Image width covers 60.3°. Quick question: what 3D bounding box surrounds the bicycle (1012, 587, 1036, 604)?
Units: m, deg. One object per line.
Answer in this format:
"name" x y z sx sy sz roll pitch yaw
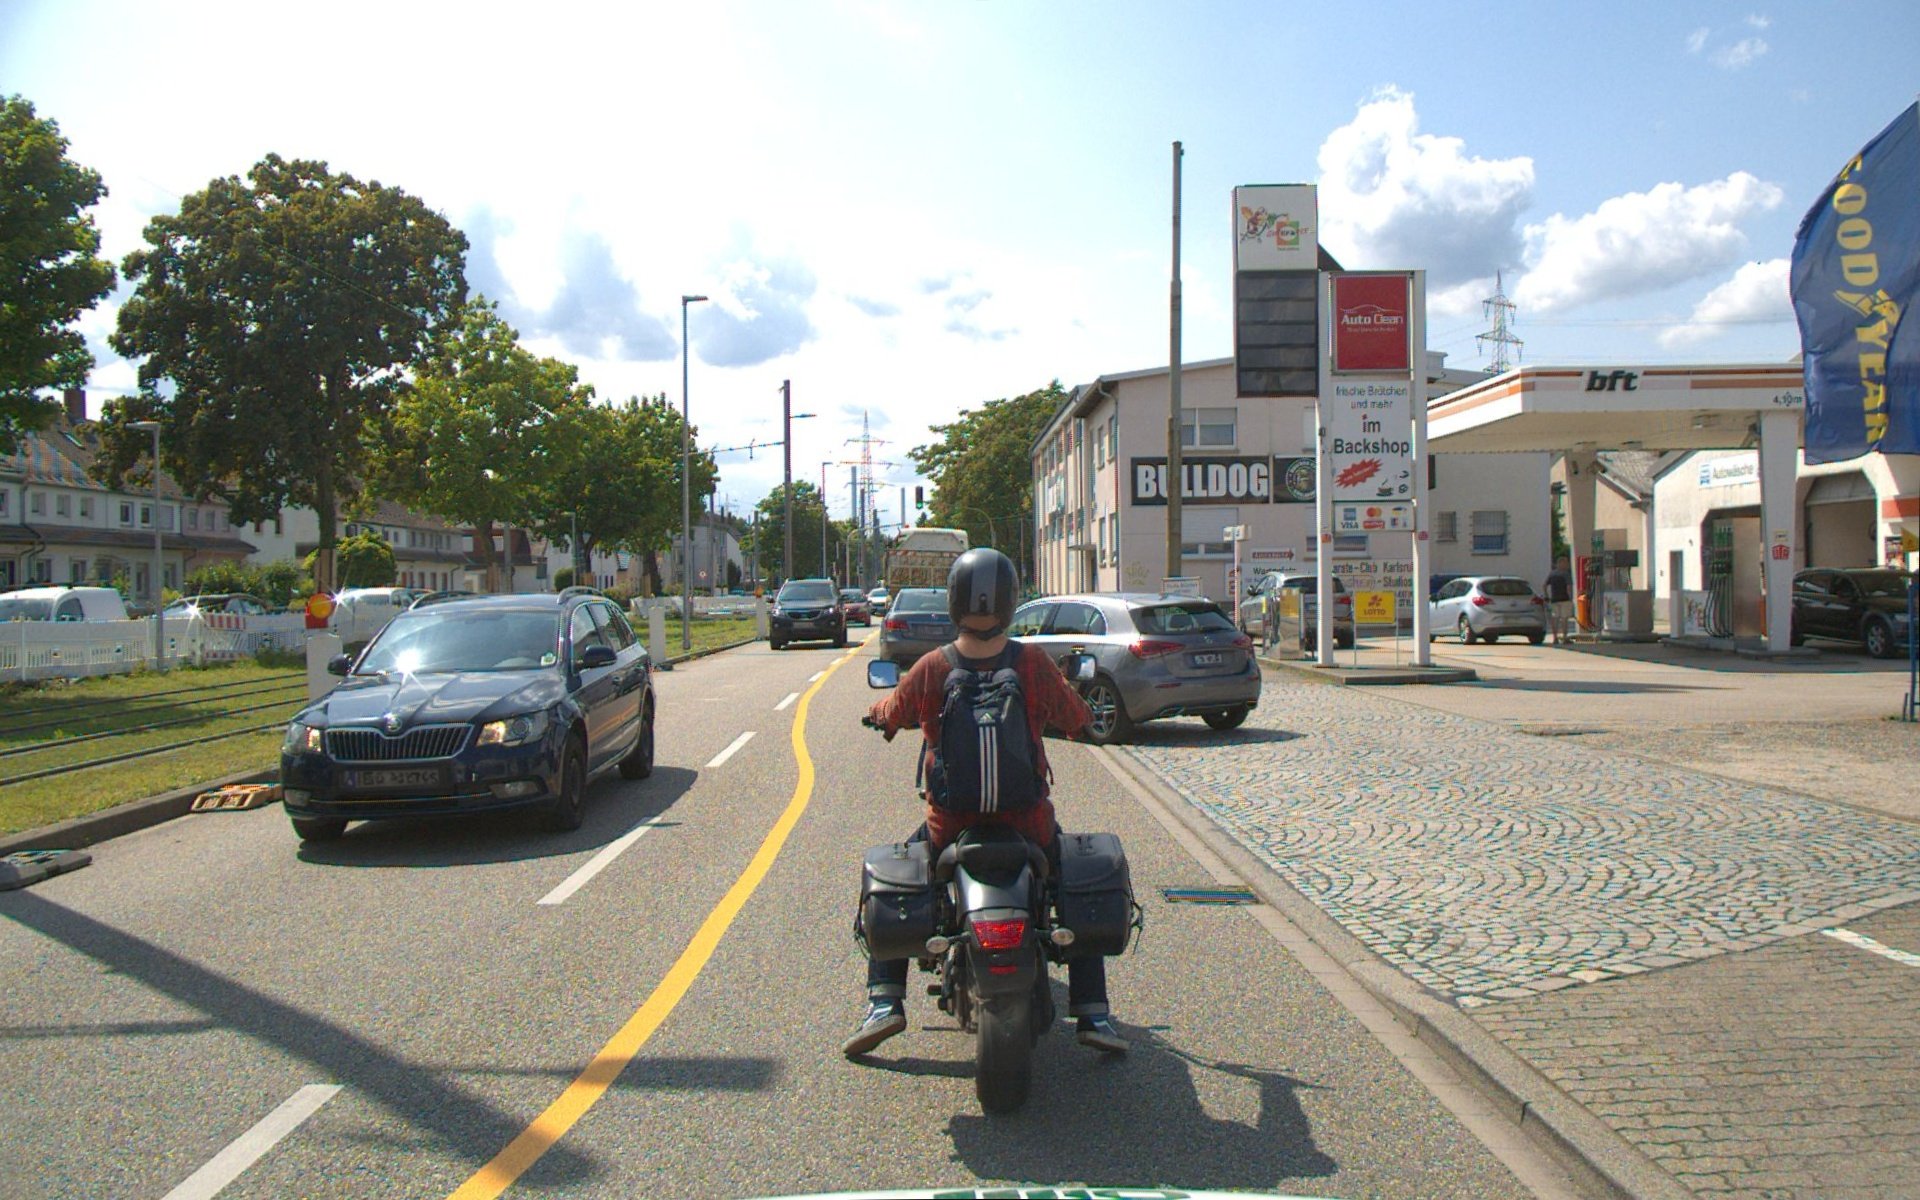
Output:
"bicycle" 4.505 -0.318 117.212 1.672 1.192 0.438 1 -1 4

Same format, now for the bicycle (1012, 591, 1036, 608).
"bicycle" 4.500 -0.013 116.699 1.672 1.192 0.438 1 -1 4

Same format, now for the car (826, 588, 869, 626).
"car" -4.573 0.289 67.871 1.546 1.495 3.719 1 0 -1

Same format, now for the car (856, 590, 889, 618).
"car" -4.983 0.222 94.416 1.784 1.470 4.482 -2 0 -2

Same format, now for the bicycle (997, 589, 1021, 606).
"bicycle" 3.517 -0.180 117.763 1.672 1.192 0.438 1 -1 4

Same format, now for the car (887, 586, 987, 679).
"car" -0.356 0.508 28.711 1.610 1.469 3.748 1 1 0

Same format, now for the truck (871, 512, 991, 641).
"truck" -0.665 -0.587 45.808 2.906 3.228 7.765 1 0 2

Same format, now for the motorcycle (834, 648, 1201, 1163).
"motorcycle" 0.131 0.825 5.495 0.923 1.221 2.472 1 0 -1

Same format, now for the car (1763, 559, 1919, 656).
"car" 16.463 0.070 29.887 1.648 1.546 4.492 -1 2 -1

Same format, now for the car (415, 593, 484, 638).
"car" -16.876 0.504 54.775 1.323 1.401 3.113 -2 0 -1

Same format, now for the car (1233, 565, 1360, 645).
"car" 7.406 0.095 36.828 1.906 1.653 4.616 0 0 0

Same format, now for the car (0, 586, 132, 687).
"car" -16.419 0.635 29.173 1.619 1.654 4.000 -2 0 -1

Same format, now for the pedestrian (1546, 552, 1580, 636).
"pedestrian" 13.029 -0.127 35.753 0.487 1.807 0.577 1 -1 -4

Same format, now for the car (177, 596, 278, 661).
"car" -16.371 0.626 37.069 1.050 1.371 2.449 -2 0 3

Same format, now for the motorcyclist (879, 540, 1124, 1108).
"motorcyclist" 0.117 0.649 5.129 0.684 1.632 0.692 1 -1 -1

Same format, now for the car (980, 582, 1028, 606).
"car" 3.666 -0.479 136.396 1.773 1.959 3.972 1 -1 44

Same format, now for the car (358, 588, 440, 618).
"car" -30.654 0.180 90.470 3.906 1.536 1.725 -1 0 -2

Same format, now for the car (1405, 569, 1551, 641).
"car" 11.728 0.121 37.731 1.658 1.496 4.420 -2 0 -4

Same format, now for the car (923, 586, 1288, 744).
"car" 1.412 0.604 17.532 1.716 1.428 4.039 1 0 -34

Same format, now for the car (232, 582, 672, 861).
"car" -3.257 0.669 11.591 1.676 1.512 4.536 -2 0 -1

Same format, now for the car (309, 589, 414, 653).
"car" -16.911 0.578 46.913 1.590 1.680 3.898 -2 0 -1

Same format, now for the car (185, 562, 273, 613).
"car" -30.632 -0.515 69.390 1.953 2.049 3.999 1 0 -2

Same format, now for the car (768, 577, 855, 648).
"car" -3.820 0.323 43.140 1.759 1.719 4.222 -1 0 2

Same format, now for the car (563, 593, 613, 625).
"car" -16.848 0.403 75.005 1.491 1.378 3.620 1 0 -1
